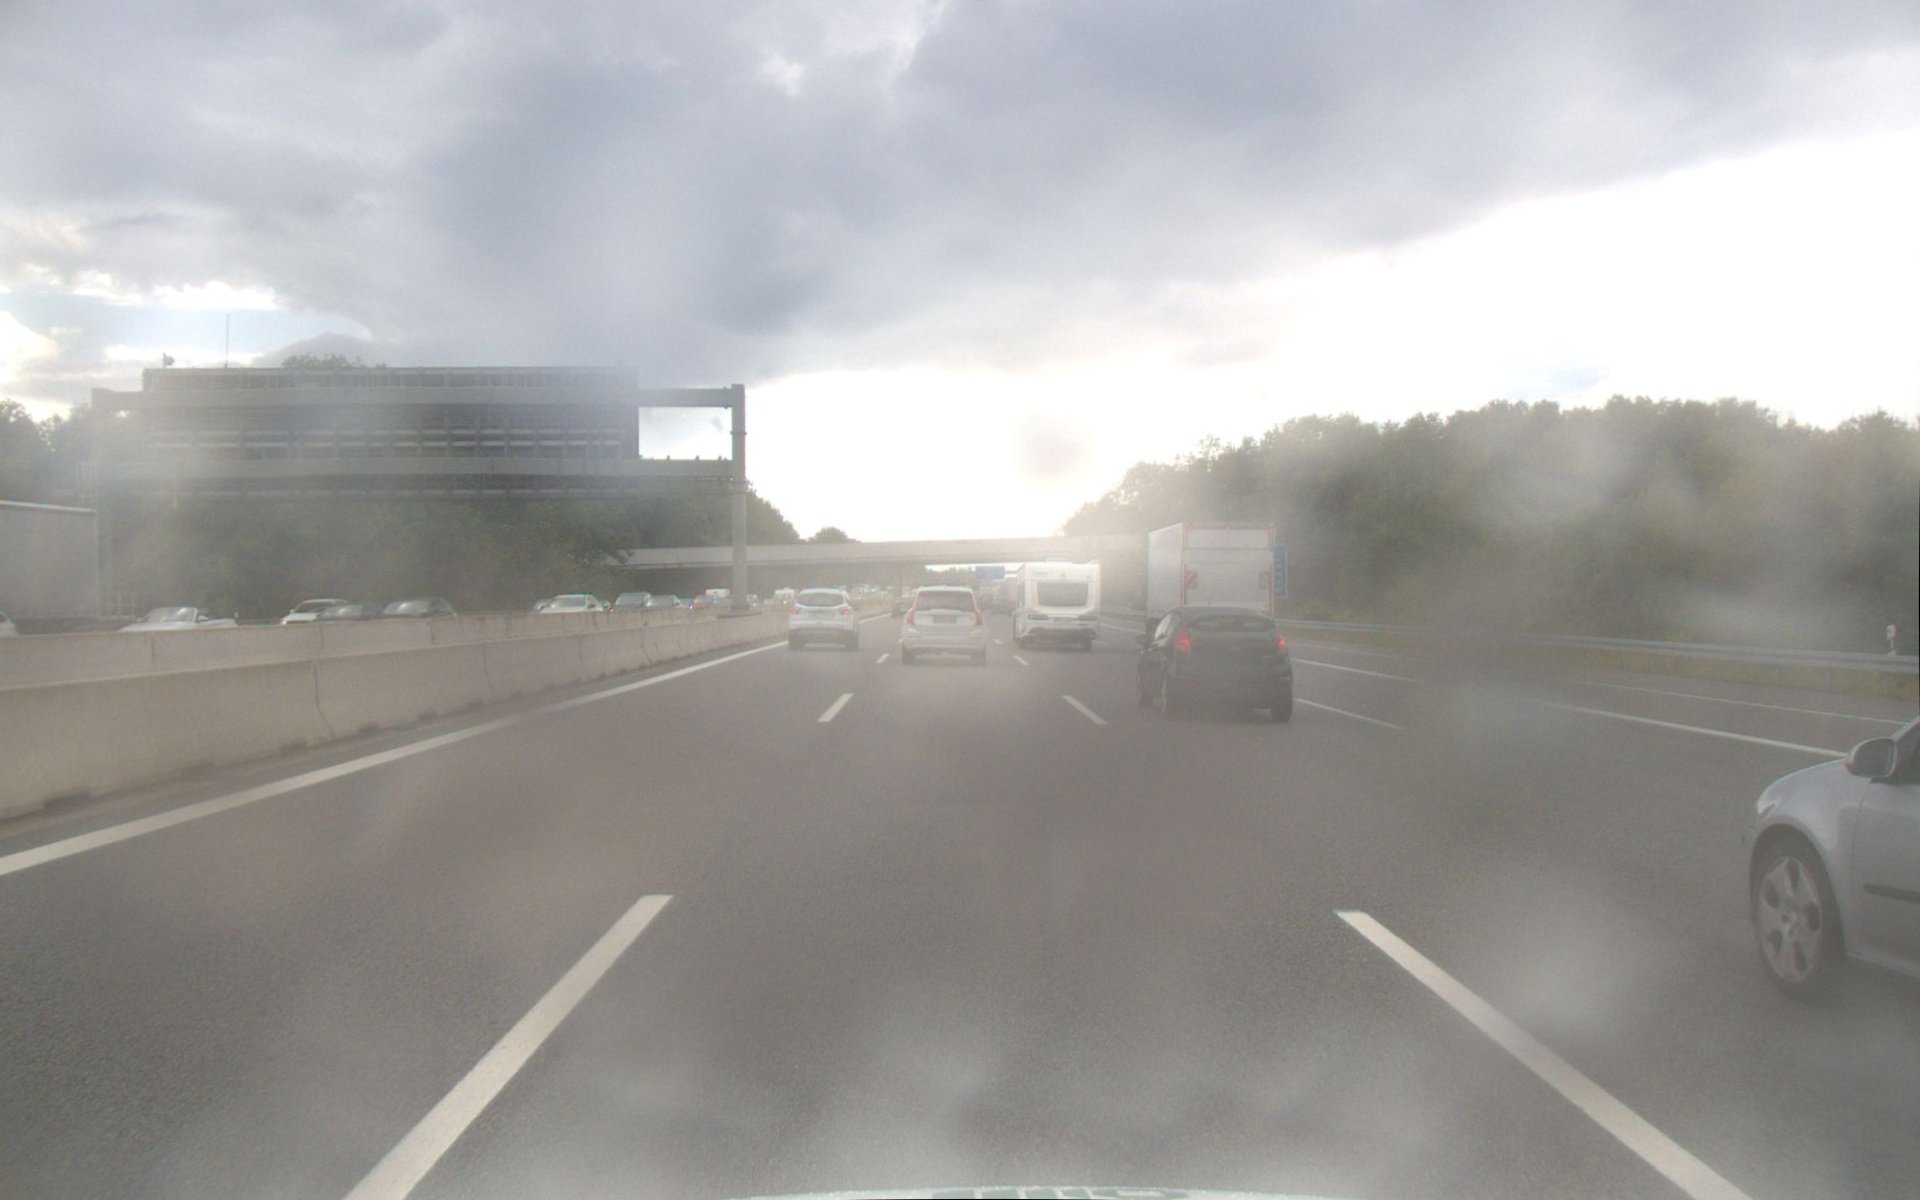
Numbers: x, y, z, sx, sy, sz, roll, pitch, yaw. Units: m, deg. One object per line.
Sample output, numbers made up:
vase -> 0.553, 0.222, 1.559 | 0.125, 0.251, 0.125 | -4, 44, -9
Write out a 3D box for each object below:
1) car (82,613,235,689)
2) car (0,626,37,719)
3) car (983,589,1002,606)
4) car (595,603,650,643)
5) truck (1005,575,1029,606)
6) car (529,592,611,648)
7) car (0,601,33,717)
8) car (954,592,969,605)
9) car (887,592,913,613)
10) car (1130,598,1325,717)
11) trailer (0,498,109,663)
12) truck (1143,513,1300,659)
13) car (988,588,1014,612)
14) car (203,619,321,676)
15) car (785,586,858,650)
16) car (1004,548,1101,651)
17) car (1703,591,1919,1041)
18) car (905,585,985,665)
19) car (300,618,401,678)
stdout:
car -> -20.954, 1.293, 43.457 | 1.784, 1.812, 4.672 | 1, 0, -1
car -> -21.114, 1.530, 33.708 | 1.953, 1.906, 4.760 | 1, 0, 0
car -> 3.557, -0.248, 180.882 | 2.001, 1.855, 4.903 | 1, 0, 0
car -> -17.938, 1.182, 88.087 | 1.953, 2.049, 4.760 | 1, 0, 0
truck -> 7.330, -1.235, 213.485 | 2.846, 3.876, 7.273 | 1, 0, 0
car -> -14.013, 0.687, 59.624 | 1.953, 1.924, 4.361 | 1, 0, -1
car -> -16.693, 0.966, 25.651 | 1.953, 1.906, 4.760 | 1, 0, 0
car -> 0.213, -0.185, 230.943 | 1.844, 1.715, 3.997 | 1, 0, -3
car -> -4.293, 0.170, 118.467 | 1.744, 1.507, 4.352 | 1, 0, 0
car -> 3.508, 0.709, 22.469 | 1.847, 1.431, 4.281 | 1, 0, -2
trailer -> -25.516, -0.493, 39.716 | 3.173, 4.099, 13.805 | 1, 0, -1
truck -> 7.370, -0.388, 48.148 | 3.069, 3.774, 9.848 | 1, 0, 0
car -> 3.346, 0.001, 135.748 | 2.001, 1.855, 4.903 | 1, 0, 0
car -> -26.397, 1.766, 62.747 | 2.381, 1.986, 4.828 | 1, 0, 0
car -> -3.886, 0.468, 47.067 | 1.778, 1.719, 4.851 | 0, 0, -1
car -> 2.793, -0.032, 51.735 | 2.515, 2.946, 7.532 | 1, 0, -1
car -> 4.099, 0.731, 5.061 | 1.759, 1.503, 4.036 | 1, 0, -1
car -> -0.402, 0.548, 38.465 | 1.745, 1.746, 4.351 | 1, 0, -2
car -> -21.337, 1.652, 58.070 | 1.953, 1.924, 4.361 | 1, 0, -1
